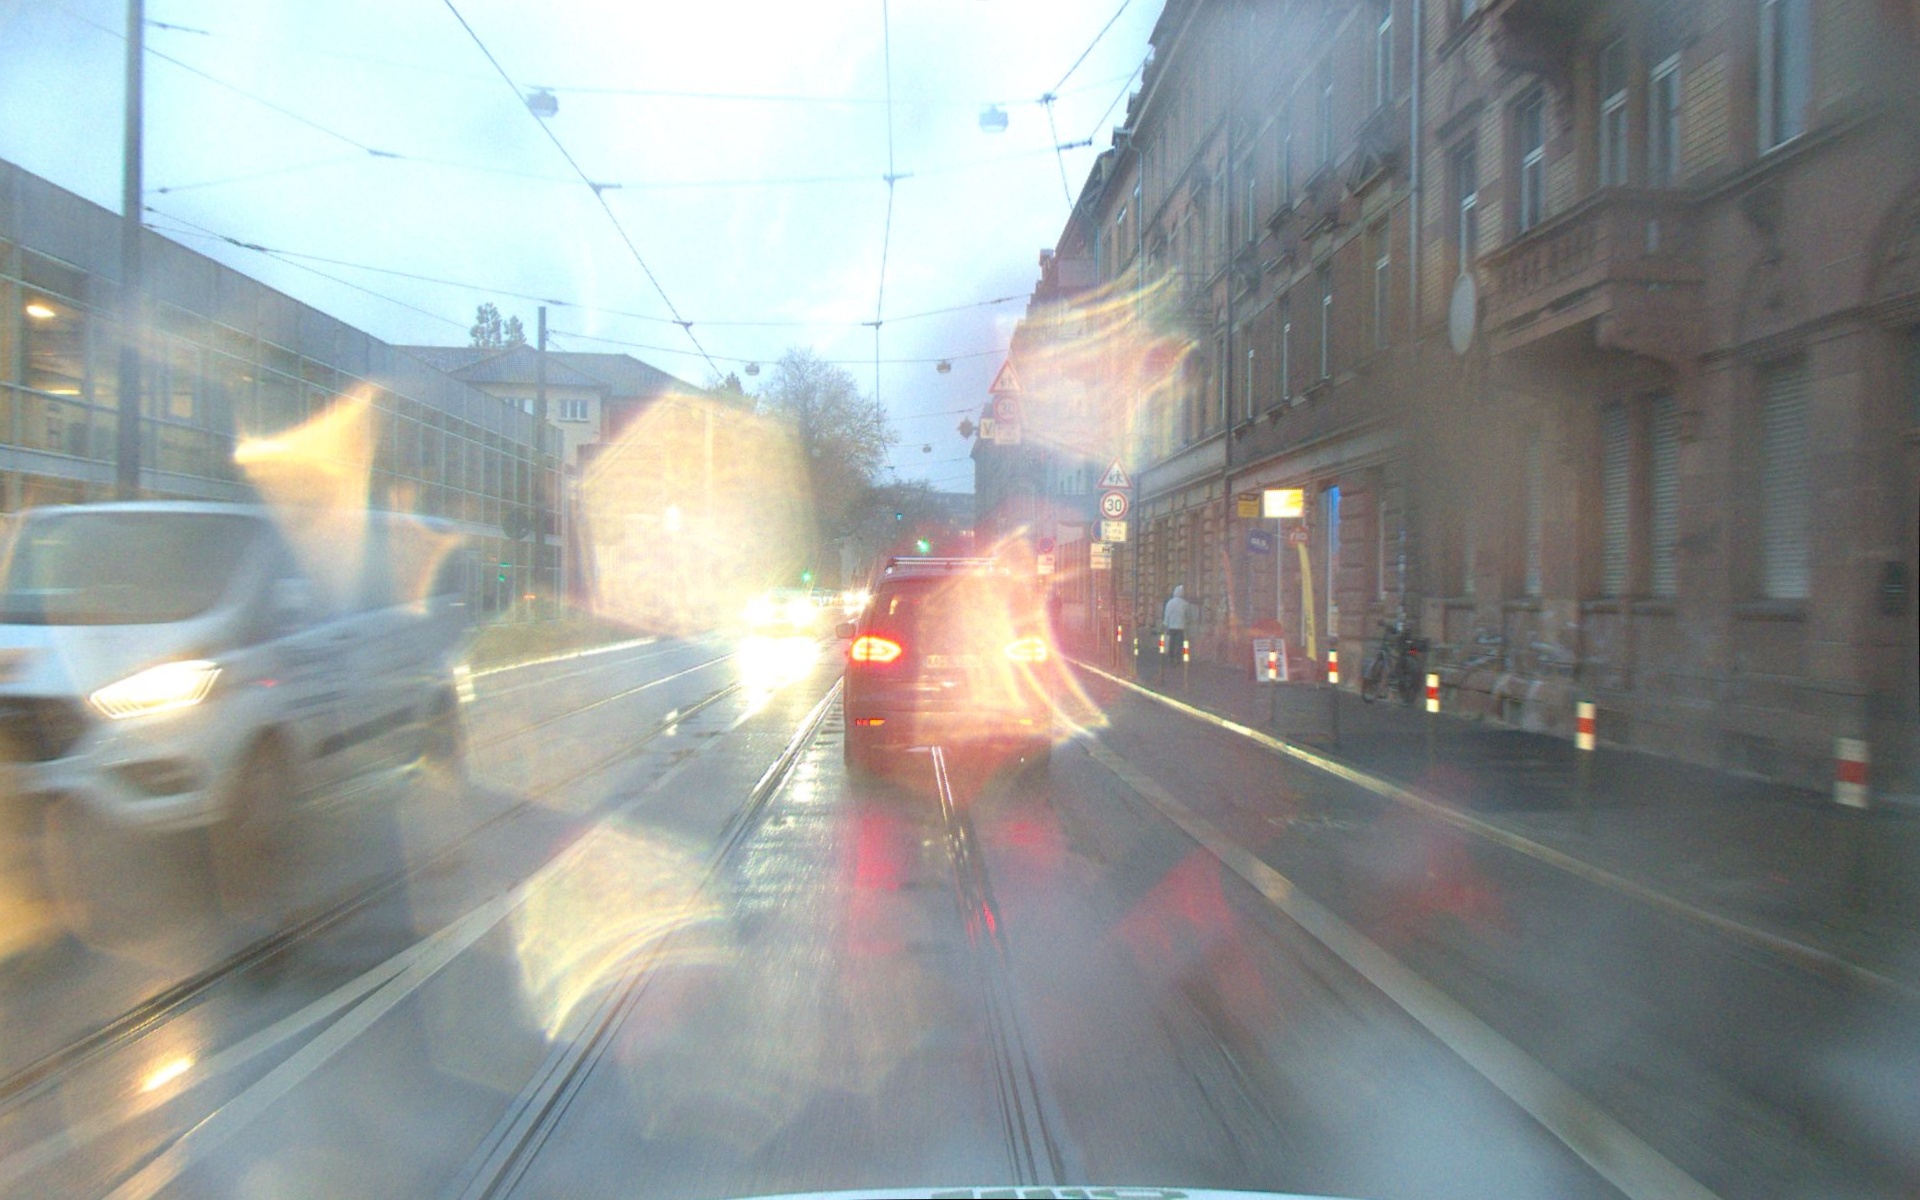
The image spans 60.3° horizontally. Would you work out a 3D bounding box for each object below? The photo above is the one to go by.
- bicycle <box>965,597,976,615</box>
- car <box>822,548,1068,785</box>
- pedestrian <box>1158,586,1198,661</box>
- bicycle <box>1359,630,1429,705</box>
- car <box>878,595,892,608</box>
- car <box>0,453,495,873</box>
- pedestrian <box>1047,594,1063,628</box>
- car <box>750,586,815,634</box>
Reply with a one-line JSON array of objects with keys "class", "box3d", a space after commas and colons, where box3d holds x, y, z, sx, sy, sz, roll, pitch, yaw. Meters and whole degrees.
[{"class": "bicycle", "box3d": [0.674, 0.387, 108.339, 0.670, 1.176, 2.187, 1, 0, -2]}, {"class": "car", "box3d": [-0.088, 0.528, 15.242, 1.952, 1.874, 4.000, 1, 0, 1]}, {"class": "pedestrian", "box3d": [4.759, 0.503, 36.154, 0.770, 1.625, 0.741, 0, 0, -1]}, {"class": "bicycle", "box3d": [5.815, 0.882, 22.222, 0.389, 0.927, 1.866, 0, 0, -2]}, {"class": "car", "box3d": [-8.817, 0.185, 194.655, 1.499, 1.507, 3.560, 0, 0, -2]}, {"class": "car", "box3d": [-4.584, 0.311, 10.480, 1.953, 2.049, 4.684, 1, 0, -1]}, {"class": "pedestrian", "box3d": [3.977, 0.450, 69.382, 0.588, 1.401, 0.728, 1, -1, -2]}, {"class": "car", "box3d": [-6.058, 0.323, 56.848, 1.803, 1.606, 4.442, 0, 0, 0]}]
